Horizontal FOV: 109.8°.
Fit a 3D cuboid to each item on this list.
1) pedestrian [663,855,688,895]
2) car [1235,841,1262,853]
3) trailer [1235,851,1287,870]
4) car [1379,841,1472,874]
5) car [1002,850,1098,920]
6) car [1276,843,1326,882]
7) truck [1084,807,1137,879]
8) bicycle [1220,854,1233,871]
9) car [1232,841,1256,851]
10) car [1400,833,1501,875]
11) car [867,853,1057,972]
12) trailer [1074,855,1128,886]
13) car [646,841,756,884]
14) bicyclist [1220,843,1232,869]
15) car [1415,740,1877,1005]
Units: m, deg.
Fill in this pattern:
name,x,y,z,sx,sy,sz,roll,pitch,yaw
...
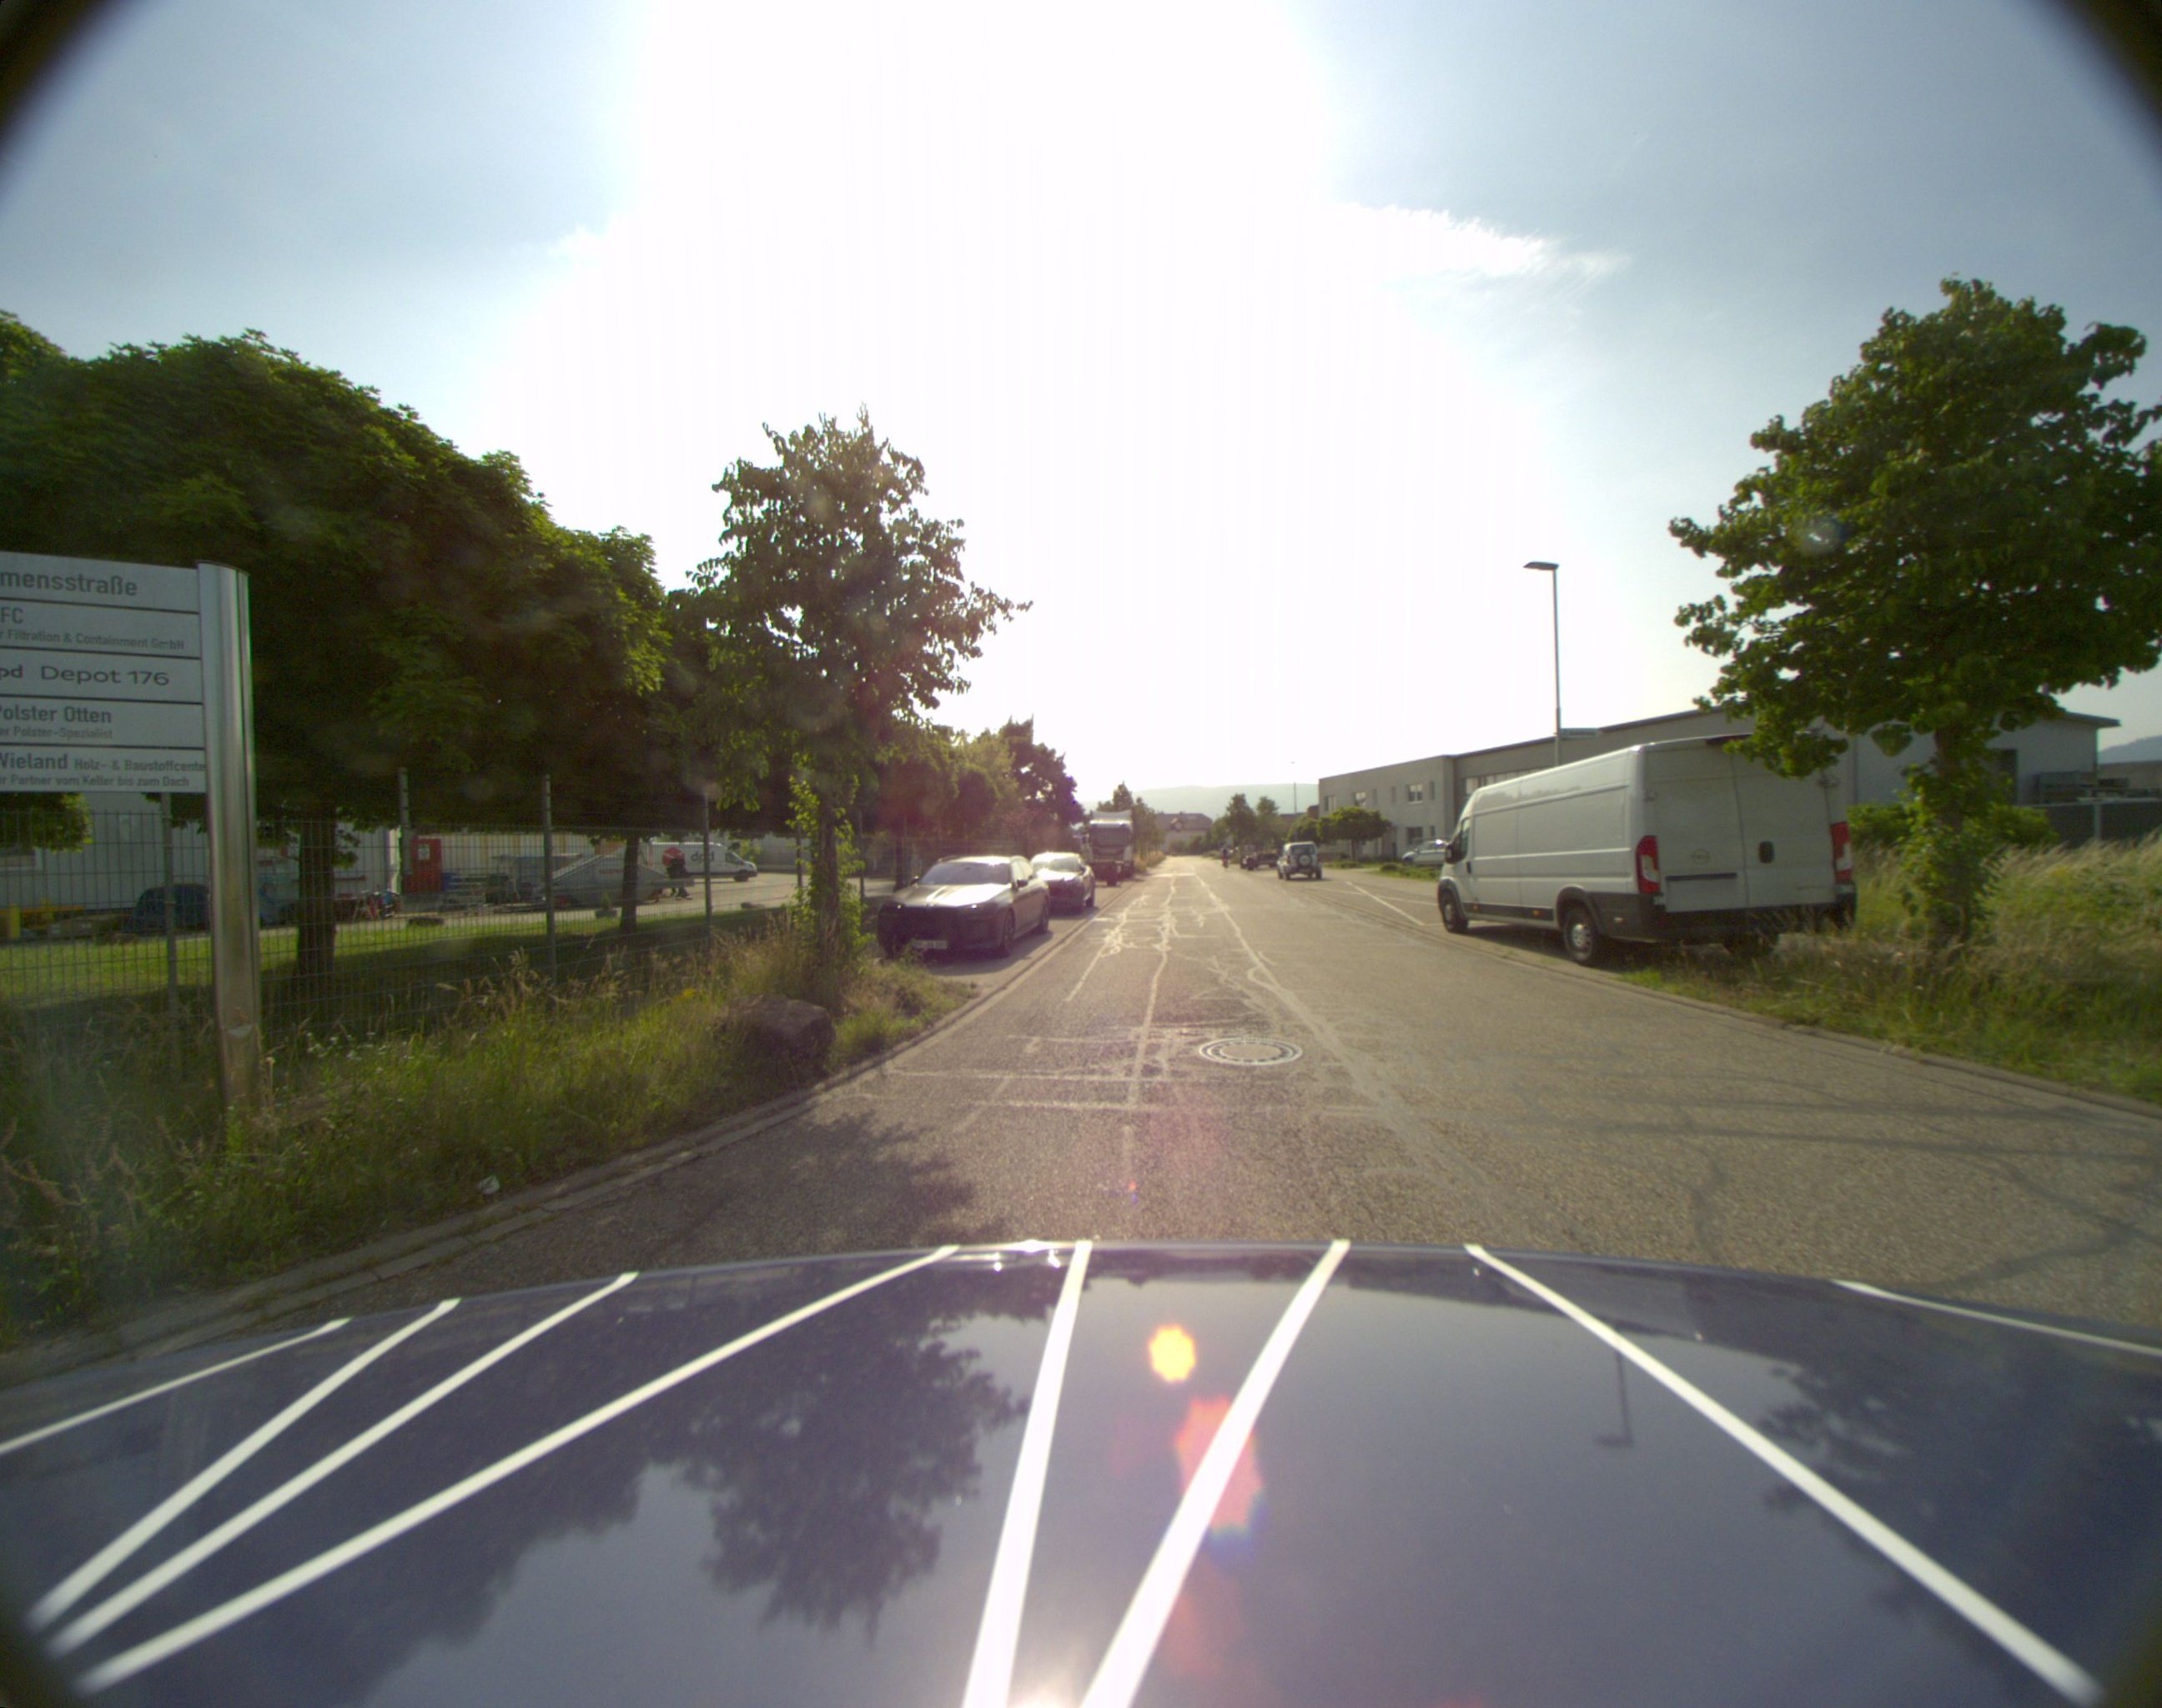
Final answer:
name,x,y,z,sx,sy,sz,roll,pitch,yaw
pedestrian,-17.522,0.900,32.862,0.859,1.712,0.631,-2,1,-24
car,27.151,-1.097,123.264,3.994,1.718,2.001,-2,1,8
trailer,12.710,0.396,54.307,2.551,1.068,9.736,-3,0,7
car,16.905,0.147,37.537,1.982,1.468,4.417,-3,1,-10
car,-0.720,0.730,20.375,1.884,1.565,4.115,1,2,7
car,10.109,0.344,35.175,1.600,1.641,3.646,-3,0,7
truck,1.820,-0.648,44.590,2.697,3.941,6.049,1,1,5
bicycle,9.947,0.547,51.952,0.717,1.116,2.220,1,1,7
car,31.326,-1.549,145.914,4.002,1.783,1.997,-2,1,-14
car,15.253,-0.004,31.622,1.839,1.563,3.813,-4,1,-9
car,-1.783,0.824,13.314,1.884,1.565,5.120,0,1,8
trailer,1.095,0.731,36.277,1.942,1.228,7.454,0,1,6
car,-25.389,0.529,50.916,6.284,2.633,2.207,-2,1,-34
bicyclist,9.951,0.126,52.181,0.640,1.709,1.166,-2,1,7
car,7.119,0.169,10.923,2.107,2.580,6.505,-3,0,4
